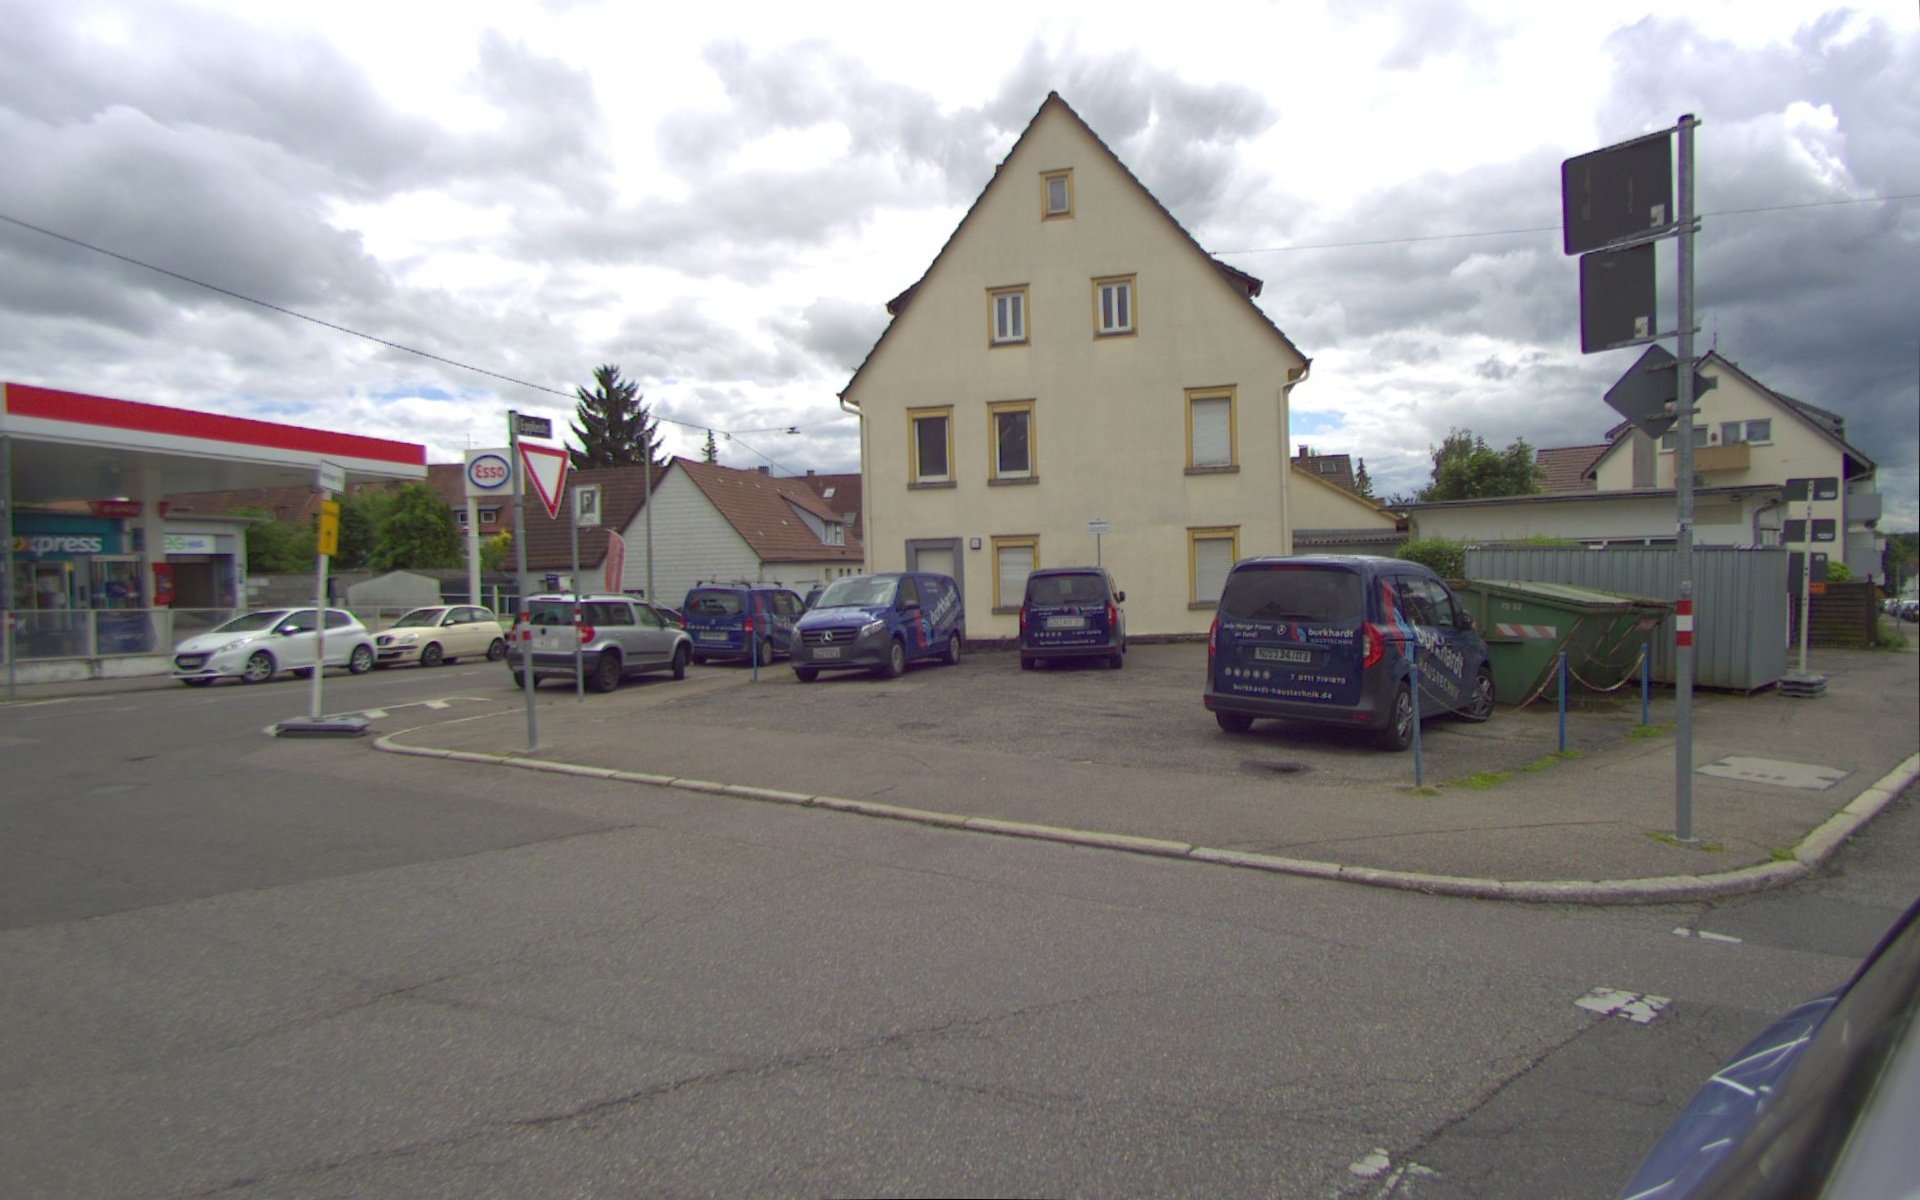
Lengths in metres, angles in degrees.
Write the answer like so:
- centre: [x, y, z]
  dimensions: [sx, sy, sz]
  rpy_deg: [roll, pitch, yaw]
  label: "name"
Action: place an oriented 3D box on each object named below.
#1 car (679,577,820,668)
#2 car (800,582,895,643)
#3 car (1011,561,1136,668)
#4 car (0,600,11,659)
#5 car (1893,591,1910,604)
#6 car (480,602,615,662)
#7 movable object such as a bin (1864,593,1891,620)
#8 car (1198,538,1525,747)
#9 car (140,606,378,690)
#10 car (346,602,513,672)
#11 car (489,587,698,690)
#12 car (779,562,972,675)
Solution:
- centre: [-4.996, 0.510, 24.670]
  dimensions: [1.748, 1.968, 4.307]
  rpy_deg: [1, 0, 12]
  label: "car"
- centre: [-3.454, 0.379, 31.804]
  dimensions: [1.697, 1.753, 3.983]
  rpy_deg: [-2, -1, 13]
  label: "car"
- centre: [2.224, 0.271, 18.958]
  dimensions: [1.841, 1.750, 3.983]
  rpy_deg: [-2, -1, 13]
  label: "car"
- centre: [-25.589, 0.842, 23.816]
  dimensions: [1.895, 1.479, 4.468]
  rpy_deg: [-1, 2, 13]
  label: "car"
- centre: [135.146, -0.308, 145.226]
  dimensions: [1.607, 1.823, 3.801]
  rpy_deg: [-2, -1, 42]
  label: "car"
- centre: [-12.096, 0.917, 29.940]
  dimensions: [1.697, 1.616, 3.983]
  rpy_deg: [-2, -1, 13]
  label: "car"
- centre: [51.883, 0.364, 57.238]
  dimensions: [1.079, 1.455, 1.241]
  rpy_deg: [-3, -2, 42]
  label: "movable object such as a bin"
- centre: [4.451, 0.318, 10.785]
  dimensions: [1.746, 1.761, 4.502]
  rpy_deg: [2, 2, 42]
  label: "car"
- centre: [-14.146, 0.895, 20.697]
  dimensions: [1.748, 1.499, 3.815]
  rpy_deg: [1, 0, 13]
  label: "car"
- centre: [-13.200, 0.875, 25.438]
  dimensions: [1.603, 1.493, 3.753]
  rpy_deg: [-1, 2, 14]
  label: "car"
- centre: [-6.521, 0.657, 18.491]
  dimensions: [1.748, 1.639, 3.985]
  rpy_deg: [-2, -1, 12]
  label: "car"
- centre: [-1.405, 0.331, 19.047]
  dimensions: [1.877, 1.826, 4.864]
  rpy_deg: [-2, -1, 18]
  label: "car"
